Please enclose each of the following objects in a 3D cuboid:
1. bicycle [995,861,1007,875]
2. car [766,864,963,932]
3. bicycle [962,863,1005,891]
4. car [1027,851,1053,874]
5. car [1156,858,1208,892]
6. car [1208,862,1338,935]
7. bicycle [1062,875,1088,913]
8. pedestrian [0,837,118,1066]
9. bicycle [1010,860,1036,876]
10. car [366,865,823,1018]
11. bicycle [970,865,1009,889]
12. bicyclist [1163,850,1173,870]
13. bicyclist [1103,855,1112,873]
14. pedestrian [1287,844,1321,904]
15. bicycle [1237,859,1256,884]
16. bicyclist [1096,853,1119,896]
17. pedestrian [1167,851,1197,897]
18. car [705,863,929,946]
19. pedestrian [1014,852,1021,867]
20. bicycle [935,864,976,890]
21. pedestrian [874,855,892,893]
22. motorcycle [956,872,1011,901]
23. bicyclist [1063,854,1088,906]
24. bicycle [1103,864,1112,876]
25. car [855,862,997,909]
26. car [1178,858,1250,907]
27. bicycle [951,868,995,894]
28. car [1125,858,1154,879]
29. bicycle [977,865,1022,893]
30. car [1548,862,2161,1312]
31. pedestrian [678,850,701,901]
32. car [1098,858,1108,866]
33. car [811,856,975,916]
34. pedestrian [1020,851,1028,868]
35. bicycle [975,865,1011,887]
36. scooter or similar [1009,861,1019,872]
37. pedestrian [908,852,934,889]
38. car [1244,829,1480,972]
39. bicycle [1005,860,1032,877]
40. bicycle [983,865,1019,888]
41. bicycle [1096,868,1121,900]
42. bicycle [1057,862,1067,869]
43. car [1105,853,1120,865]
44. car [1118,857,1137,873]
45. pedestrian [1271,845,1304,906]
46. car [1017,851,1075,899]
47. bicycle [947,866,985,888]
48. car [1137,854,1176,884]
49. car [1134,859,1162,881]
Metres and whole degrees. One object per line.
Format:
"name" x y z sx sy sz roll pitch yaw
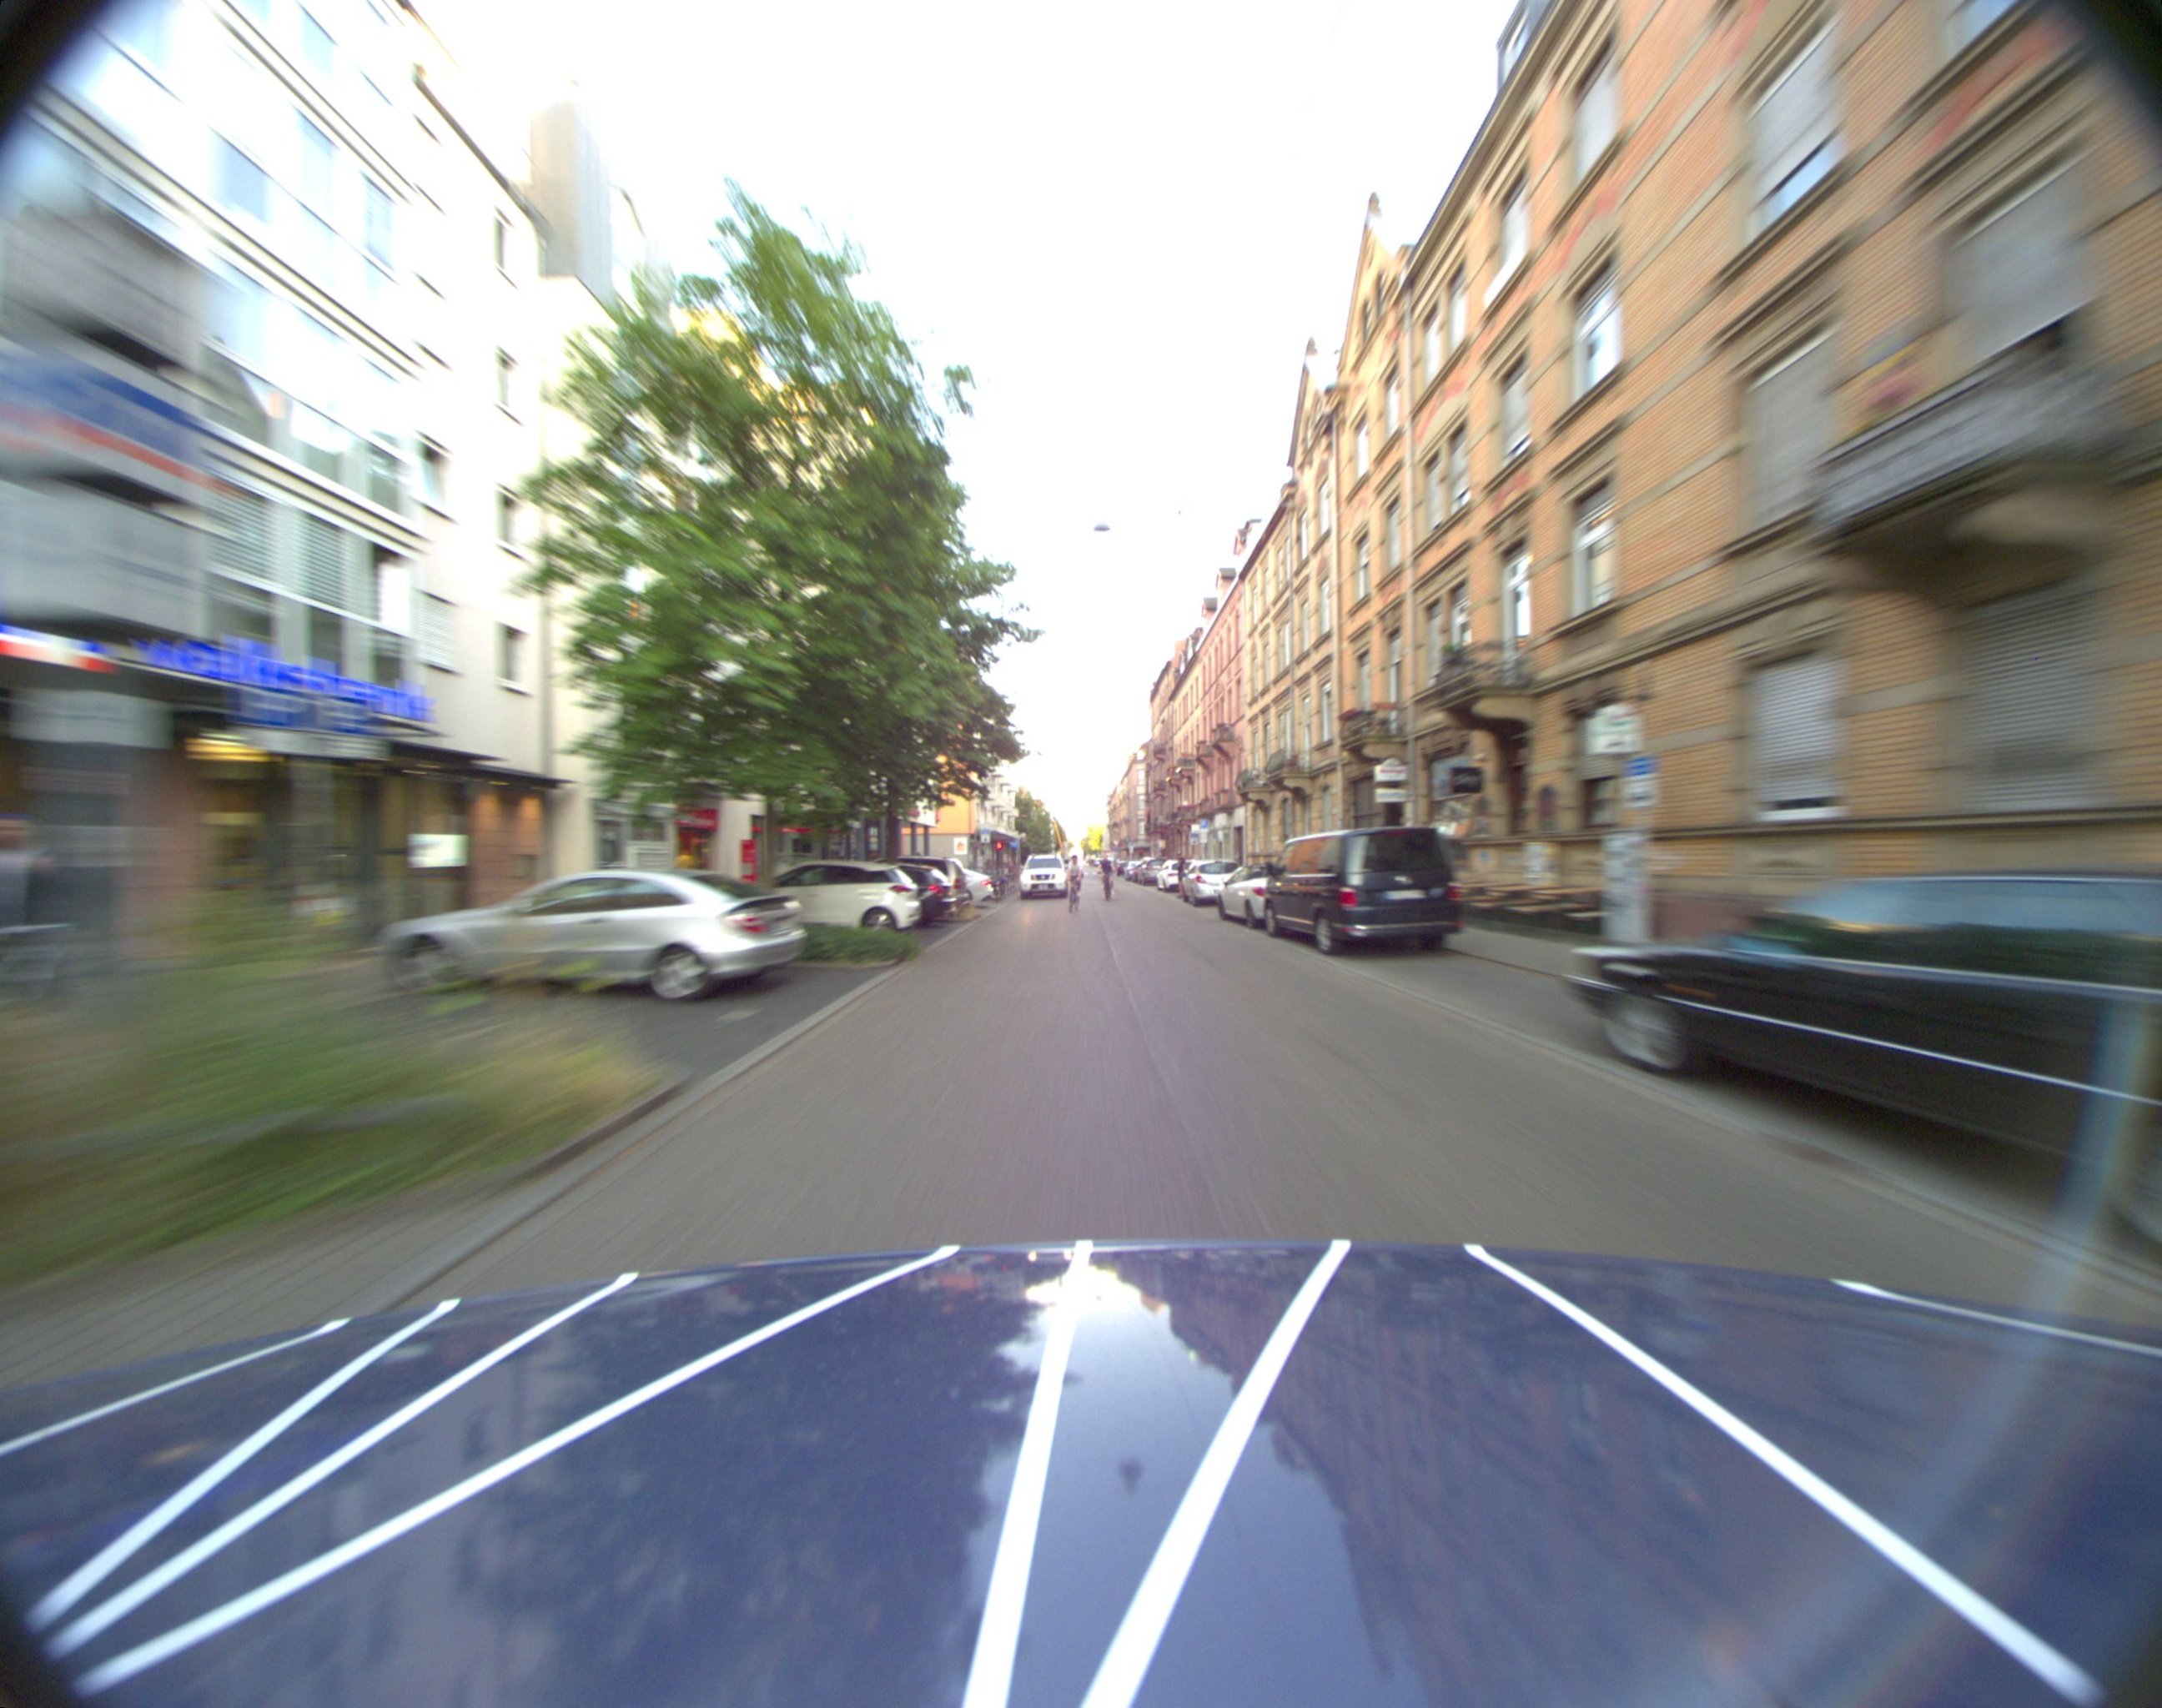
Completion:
"bicycle" -7.455 1.304 70.825 0.913 1.189 1.709 1 0 -14
"car" -4.831 0.971 17.395 3.998 1.447 1.828 1 0 -2
"bicycle" -4.517 1.074 35.357 1.791 1.175 0.734 3 1 10
"car" -3.673 0.746 68.686 1.963 1.962 5.003 1 -1 0
"car" 4.552 0.934 34.920 1.762 1.403 4.509 -2 -1 0
"car" 4.420 0.949 18.214 1.788 1.414 4.484 -3 0 -2
"bicycle" -0.153 1.183 22.853 0.658 1.012 1.918 -2 1 2
"pedestrian" -8.502 0.720 6.000 0.730 1.706 0.961 1 1 -22
"bicycle" -4.299 1.030 56.475 1.939 1.128 0.659 1 1 37
"car" -5.391 0.916 8.829 4.096 1.444 1.883 2 0 2
"bicycle" -4.499 1.135 37.521 1.814 1.111 0.707 1 1 -2
"bicyclist" 7.546 0.510 65.796 0.709 1.720 0.843 -1 1 12
"bicyclist" 2.399 0.909 68.730 0.646 1.611 0.919 1 0 7
"pedestrian" 6.842 0.613 23.320 0.581 1.761 0.997 -4 -1 -4
"bicycle" 7.972 0.833 36.653 0.517 1.125 1.730 -2 0 -1
"bicyclist" 1.004 0.762 28.714 0.794 1.562 0.826 -2 0 -1
"pedestrian" 3.886 0.760 29.171 1.020 1.745 0.556 -1 1 13
"car" -5.033 0.951 14.924 3.805 1.444 1.735 2 0 -5
"pedestrian" -6.715 0.572 80.243 0.710 1.656 0.744 0 1 -1
"bicycle" -5.657 1.033 34.367 1.727 1.111 0.653 1 1 -3
"pedestrian" -9.114 0.935 34.942 0.663 1.712 0.663 1 -1 -26
"motorcycle" -3.782 1.250 29.464 2.065 1.072 0.663 1 1 -15
"bicyclist" -0.157 0.761 22.862 0.650 1.500 0.953 -2 1 2
"bicycle" 2.427 1.463 68.901 0.646 1.074 2.170 1 0 7
"car" -5.052 1.020 25.238 4.436 1.447 1.779 1 0 -6
"car" 4.381 0.909 25.576 1.721 1.449 4.001 -3 0 1
"bicycle" -4.612 1.153 32.526 1.776 1.016 0.565 3 1 3
"car" 4.336 1.058 57.049 1.727 1.412 4.581 -2 0 0
"bicycle" -3.691 1.121 34.451 1.873 1.175 0.743 3 1 5
"car" 4.538 0.823 3.510 1.741 1.410 4.778 -3 0 -1
"pedestrian" -13.609 0.742 26.388 0.588 1.743 0.626 -3 2 -33
"car" 4.861 1.755 169.907 2.141 1.811 4.540 -2 0 0
"car" -5.487 0.911 22.594 4.410 1.638 1.746 1 0 0
"pedestrian" -6.003 0.586 80.095 0.710 1.818 0.860 0 1 0
"bicycle" -4.512 1.120 39.170 1.726 1.111 0.707 1 1 3
"scooter or similar" -7.504 1.397 84.696 0.536 1.196 1.166 -1 0 26
"pedestrian" -7.569 0.773 35.948 0.915 1.712 0.774 2 -2 -37
"car" 4.494 0.669 13.174 1.998 1.912 4.950 -3 0 -3
"bicycle" -4.579 1.051 55.533 1.939 1.128 0.659 1 1 37
"bicycle" -4.006 1.118 38.309 1.727 1.111 0.707 1 1 -2
"bicycle" 1.016 1.105 28.708 0.794 1.132 2.343 -2 -1 0
"bicycle" -2.992 1.790 119.980 0.666 1.162 2.111 1 0 -28
"car" 5.267 0.819 128.812 2.141 1.946 4.769 -2 0 -1
"car" 4.324 1.048 71.072 1.697 1.412 3.855 -2 -1 3
"pedestrian" 6.224 0.644 22.927 0.607 1.762 0.777 -4 -1 -4
"car" -1.373 0.827 32.316 1.915 1.842 5.271 -1 0 3
"bicycle" -5.724 1.121 37.899 1.726 1.048 0.654 1 1 3
"car" 4.429 0.894 45.286 1.858 1.624 4.446 -2 -1 0
"car" 4.461 1.063 50.985 1.589 1.412 3.697 -2 -1 1
